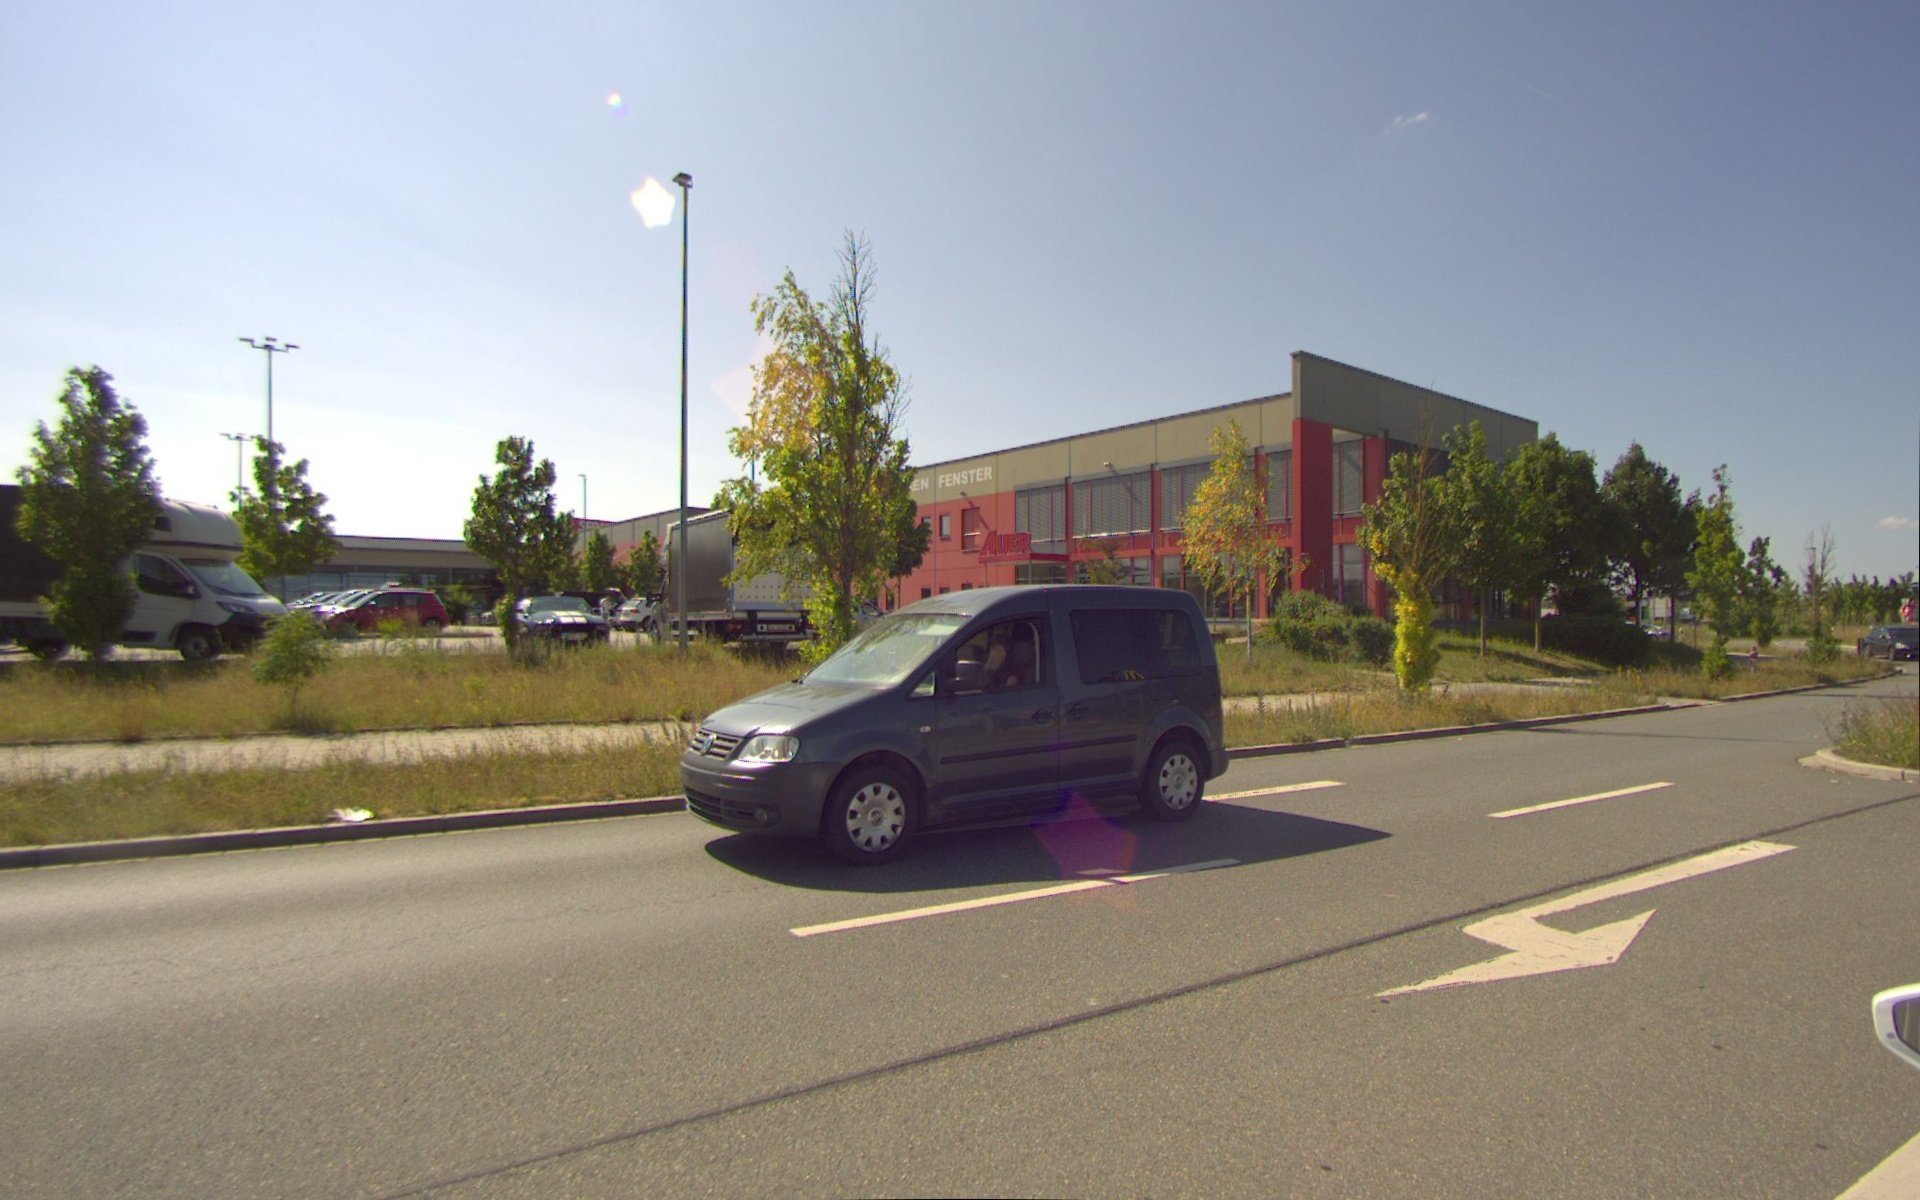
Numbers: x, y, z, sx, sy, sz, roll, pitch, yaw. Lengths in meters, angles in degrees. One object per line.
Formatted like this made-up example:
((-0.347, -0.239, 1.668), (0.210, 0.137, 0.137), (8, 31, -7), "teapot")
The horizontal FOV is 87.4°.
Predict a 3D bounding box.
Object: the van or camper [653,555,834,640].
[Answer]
((-9.008, -0.020, 42.375), (7.175, 3.314, 2.410), (2, -1, -39), "van or camper")

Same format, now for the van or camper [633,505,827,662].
((-6.292, -0.303, 26.416), (2.528, 3.514, 7.648), (1, -1, -33), "van or camper")

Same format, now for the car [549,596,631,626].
((-21.017, 0.631, 57.090), (4.051, 1.608, 1.647), (2, -1, -41), "car")

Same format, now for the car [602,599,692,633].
((-15.702, 0.832, 50.492), (4.052, 1.636, 1.646), (2, -1, -41), "car")

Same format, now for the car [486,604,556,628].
((-29.560, 1.092, 67.665), (4.051, 1.617, 1.647), (2, -1, -41), "car")

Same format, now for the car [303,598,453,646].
((-20.542, 0.782, 35.523), (4.347, 1.583, 1.816), (2, -1, -41), "car")

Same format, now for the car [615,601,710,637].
((-14.100, 0.915, 47.712), (4.052, 1.636, 1.646), (2, -1, -41), "car")

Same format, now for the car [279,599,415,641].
((-24.115, 0.793, 39.576), (4.347, 1.583, 1.816), (2, -1, -41), "car")

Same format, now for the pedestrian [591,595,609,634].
((-17.587, 0.704, 49.043), (0.656, 1.865, 0.474), (1, -1, -41), "pedestrian")

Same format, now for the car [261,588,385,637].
((-27.566, 0.583, 43.535), (4.347, 2.021, 1.816), (2, -1, -41), "car")

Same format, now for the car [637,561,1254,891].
((0.036, 0.760, 7.627), (4.384, 1.818, 1.938), (1, -2, -36), "car")

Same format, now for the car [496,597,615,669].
((-9.900, 0.769, 24.396), (1.819, 1.573, 4.341), (1, -1, -34), "car")

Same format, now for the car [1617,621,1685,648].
((47.266, 2.332, 68.813), (1.924, 1.648, 4.627), (-1, 0, 7), "car")

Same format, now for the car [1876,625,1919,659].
((45.508, 2.030, 48.284), (1.737, 1.563, 4.224), (-3, -3, 38), "car")

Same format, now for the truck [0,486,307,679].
((-17.281, -0.315, 19.565), (7.352, 3.510, 2.323), (1, -1, -5), "truck")

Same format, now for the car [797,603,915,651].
((-3.694, 0.976, 36.140), (4.052, 1.636, 1.646), (2, -1, -41), "car")

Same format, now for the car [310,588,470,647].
((-18.744, 0.595, 33.130), (4.347, 1.797, 1.816), (2, -1, -41), "car")

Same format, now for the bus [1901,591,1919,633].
((76.598, 0.721, 74.945), (11.984, 3.120, 2.791), (-1, -1, -11), "bus")
